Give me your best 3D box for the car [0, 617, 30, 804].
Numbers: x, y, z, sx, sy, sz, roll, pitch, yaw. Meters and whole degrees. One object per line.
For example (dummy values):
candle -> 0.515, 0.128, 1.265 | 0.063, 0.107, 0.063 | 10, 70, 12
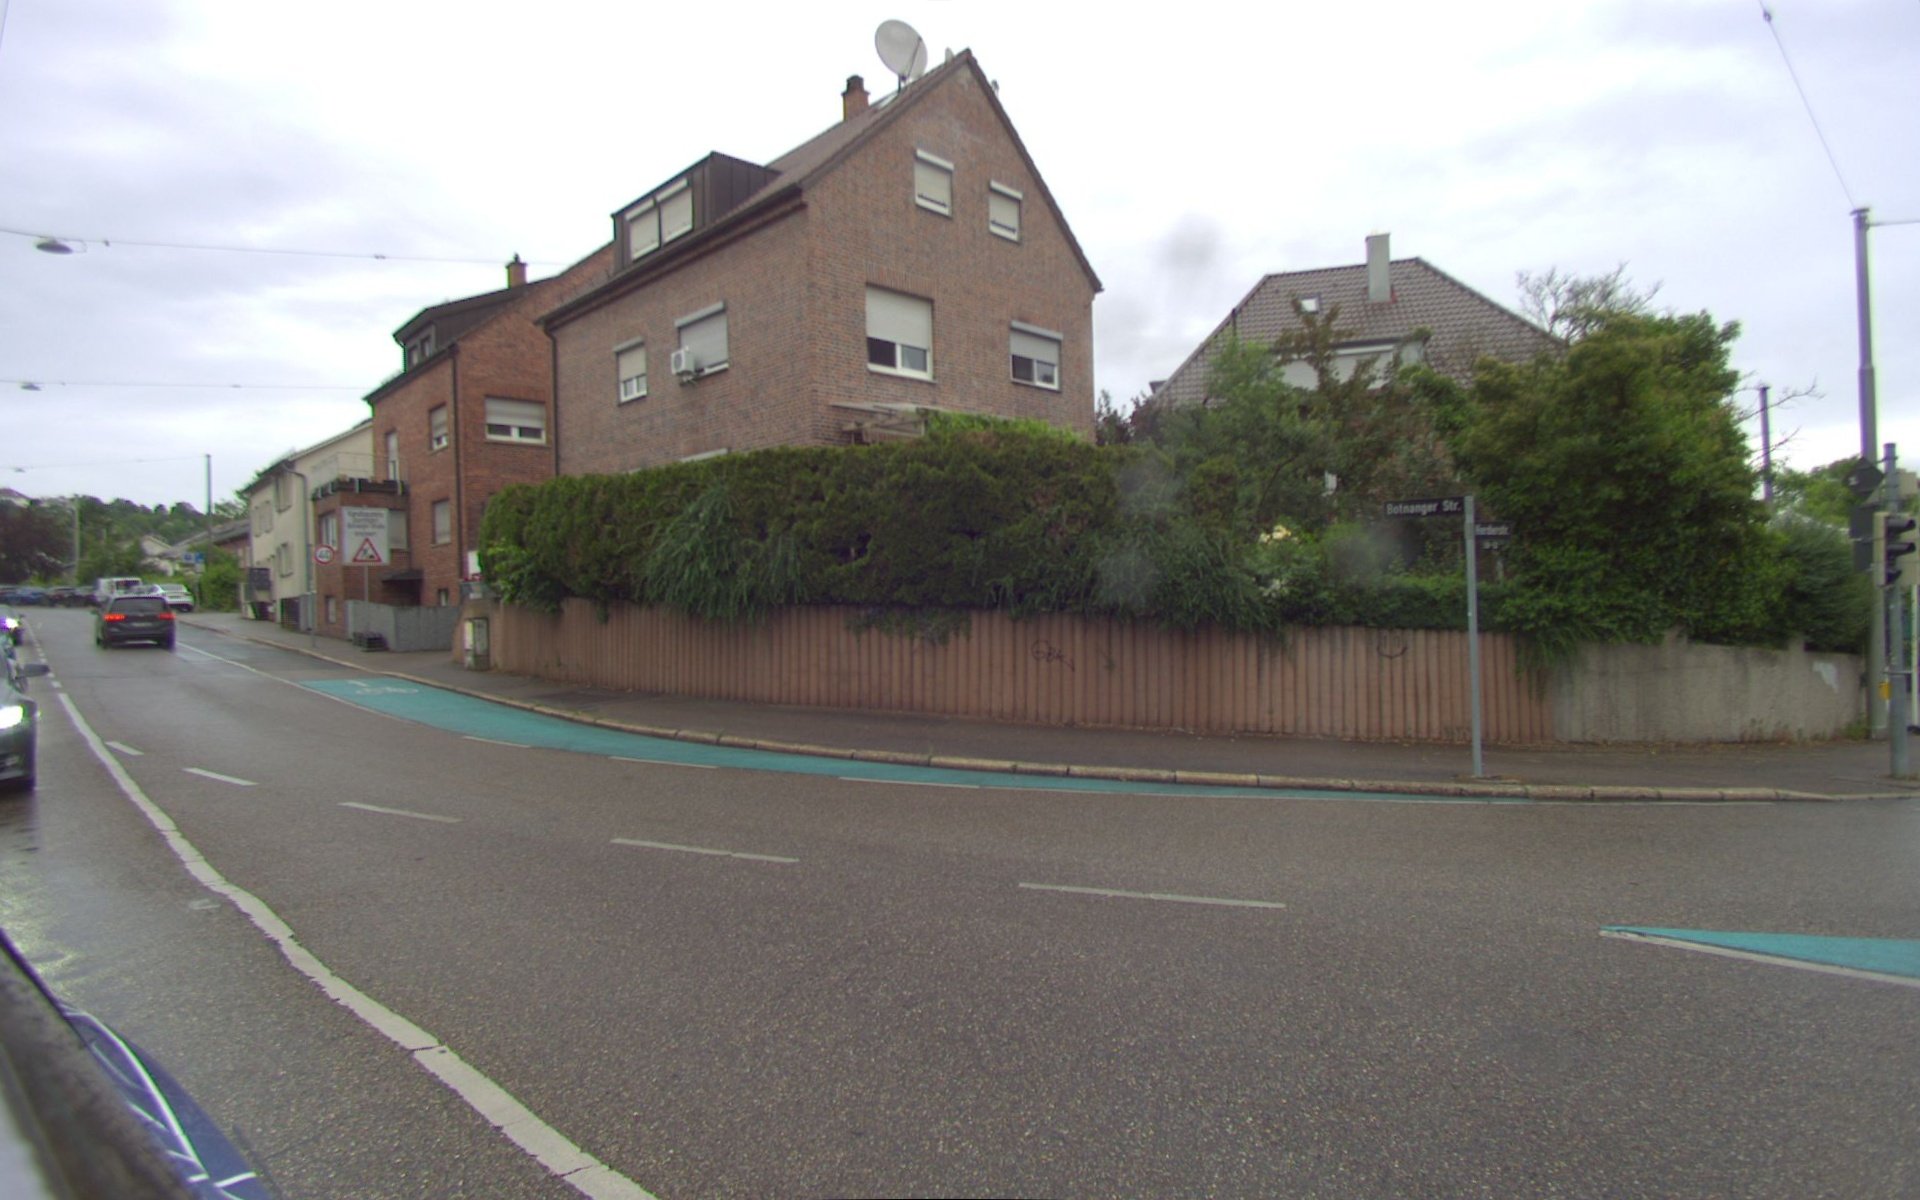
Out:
car -> -9.498, 0.896, 8.843 | 4.002, 1.426, 1.845 | 0, 0, 45

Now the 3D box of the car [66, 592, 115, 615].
car -> -61.521, 0.242, 71.563 | 4.002, 1.501, 1.636 | -1, 2, 34

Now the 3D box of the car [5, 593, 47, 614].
car -> -71.217, 0.258, 77.178 | 3.895, 1.501, 1.605 | -1, 2, 36

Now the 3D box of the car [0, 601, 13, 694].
car -> -18.429, 0.819, 18.308 | 3.785, 1.601, 1.765 | 0, 0, 45

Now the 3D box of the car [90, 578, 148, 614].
car -> -57.021, -0.271, 68.616 | 4.544, 2.303, 2.229 | 0, 2, 41

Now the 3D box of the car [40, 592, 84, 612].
car -> -66.402, 0.156, 74.851 | 3.854, 1.407, 1.634 | -1, 2, 36

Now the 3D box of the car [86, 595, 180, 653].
car -> -26.027, 0.714, 31.810 | 4.175, 1.693, 1.827 | 1, -1, 45

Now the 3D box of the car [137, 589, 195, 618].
car -> -46.428, 0.202, 59.164 | 4.262, 1.577, 1.921 | 0, 2, 42

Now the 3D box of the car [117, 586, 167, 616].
car -> -52.376, 0.035, 64.758 | 4.262, 1.817, 1.791 | 0, 2, 42
